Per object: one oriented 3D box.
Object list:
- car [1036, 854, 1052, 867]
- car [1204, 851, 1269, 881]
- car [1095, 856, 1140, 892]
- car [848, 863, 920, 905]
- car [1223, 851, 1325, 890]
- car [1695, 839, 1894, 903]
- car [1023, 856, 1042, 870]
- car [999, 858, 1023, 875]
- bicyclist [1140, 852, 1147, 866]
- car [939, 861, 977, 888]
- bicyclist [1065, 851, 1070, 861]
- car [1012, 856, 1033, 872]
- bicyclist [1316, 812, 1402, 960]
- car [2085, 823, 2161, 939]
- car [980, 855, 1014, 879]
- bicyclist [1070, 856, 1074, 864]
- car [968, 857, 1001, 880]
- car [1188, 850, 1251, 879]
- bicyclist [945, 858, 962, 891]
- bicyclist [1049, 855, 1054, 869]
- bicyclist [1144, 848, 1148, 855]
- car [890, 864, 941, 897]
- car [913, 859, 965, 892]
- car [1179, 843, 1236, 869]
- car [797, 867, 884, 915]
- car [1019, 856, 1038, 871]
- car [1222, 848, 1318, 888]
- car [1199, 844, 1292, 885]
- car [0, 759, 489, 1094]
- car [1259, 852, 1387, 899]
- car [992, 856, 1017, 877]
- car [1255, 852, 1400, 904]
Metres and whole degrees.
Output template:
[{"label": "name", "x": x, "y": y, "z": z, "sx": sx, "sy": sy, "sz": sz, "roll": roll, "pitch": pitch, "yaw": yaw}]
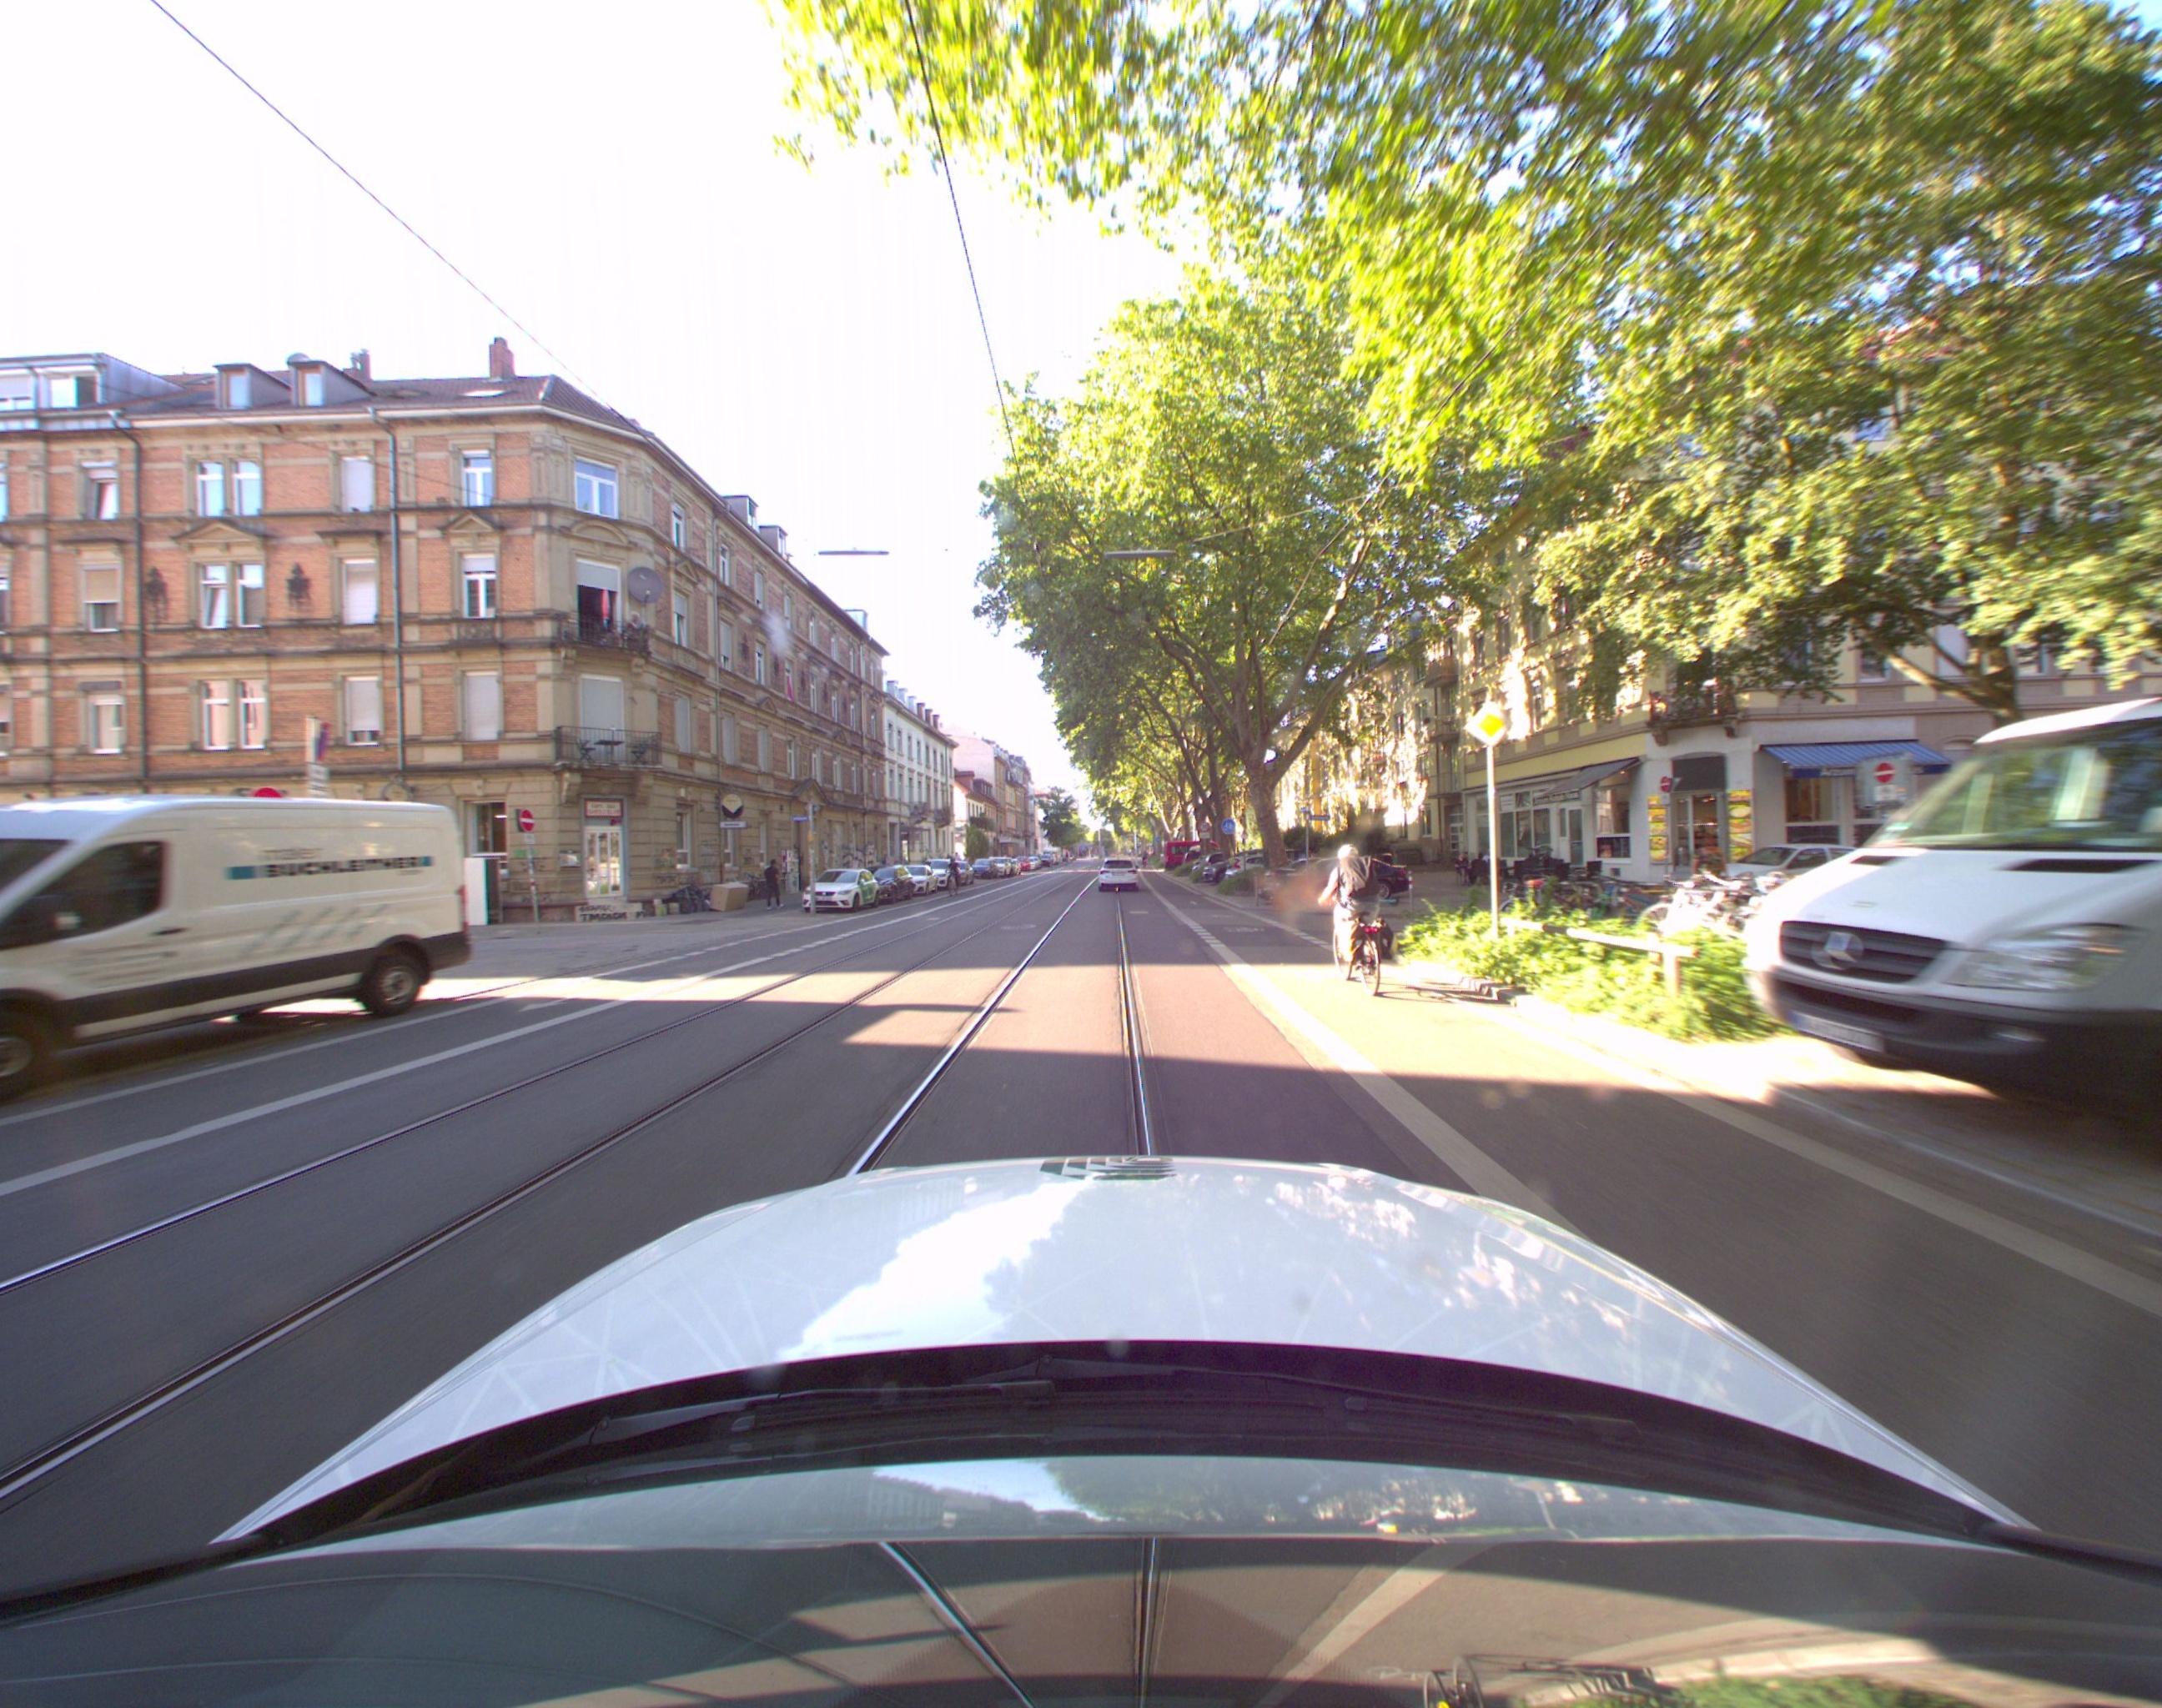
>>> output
[{"label": "car", "x": -5.107, "y": 0.880, "z": 112.430, "sx": 1.957, "sy": 1.781, "sz": 4.938, "roll": 1, "pitch": 0, "yaw": 1}, {"label": "car", "x": 9.101, "y": 0.685, "z": 47.866, "sx": 3.581, "sy": 1.599, "sz": 1.542, "roll": -2, "pitch": -1, "yaw": 2}, {"label": "car", "x": 1.549, "y": 0.831, "z": 35.881, "sx": 1.836, "sy": 1.480, "sz": 3.838, "roll": -1, "pitch": 0, "yaw": 0}, {"label": "car", "x": -8.069, "y": 1.168, "z": 33.804, "sx": 1.734, "sy": 1.562, "sz": 4.787, "roll": 0, "pitch": 0, "yaw": 1}, {"label": "car", "x": 8.339, "y": 0.700, "z": 35.475, "sx": 4.014, "sy": 1.480, "sz": 1.681, "roll": -3, "pitch": 0, "yaw": 0}, {"label": "car", "x": 18.082, "y": 0.398, "z": 20.740, "sx": 3.666, "sy": 1.411, "sz": 1.691, "roll": -2, "pitch": 2, "yaw": -2}, {"label": "car", "x": -5.744, "y": 1.038, "z": 96.365, "sx": 1.820, "sy": 1.502, "sz": 4.451, "roll": -1, "pitch": 0, "yaw": 2}, {"label": "car", "x": -6.462, "y": 1.150, "z": 75.514, "sx": 1.680, "sy": 1.477, "sz": 4.260, "roll": 0, "pitch": 0, "yaw": 2}, {"label": "bicyclist", "x": 6.167, "y": 0.480, "z": 80.008, "sx": 0.676, "sy": 1.339, "sz": 0.525, "roll": 0, "pitch": 0, "yaw": 2}, {"label": "car", "x": -7.478, "y": 1.222, "z": 49.890, "sx": 1.657, "sy": 1.521, "sz": 4.064, "roll": 0, "pitch": 0, "yaw": 0}, {"label": "bicyclist", "x": -2.380, "y": 0.388, "z": 143.792, "sx": 0.533, "sy": 1.634, "sz": 0.897, "roll": -4, "pitch": -1, "yaw": 4}, {"label": "car", "x": -6.150, "y": 1.042, "z": 85.595, "sx": 1.561, "sy": 1.562, "sz": 3.455, "roll": -2, "pitch": 0, "yaw": 6}, {"label": "bicyclist", "x": 3.123, "y": 0.341, "z": 9.220, "sx": 0.612, "sy": 1.552, "sz": 0.936, "roll": 3, "pitch": 0, "yaw": 2}, {"label": "car", "x": 14.387, "y": 0.328, "z": 9.184, "sx": 1.727, "sy": 1.455, "sz": 3.569, "roll": 0, "pitch": 0, "yaw": -1}, {"label": "car", "x": -6.603, "y": 1.011, "z": 64.432, "sx": 1.849, "sy": 1.703, "sz": 4.767, "roll": -2, "pitch": 0, "yaw": 3}, {"label": "bicyclist", "x": -1.662, "y": 1.139, "z": 150.633, "sx": 0.635, "sy": 1.503, "sz": 1.071, "roll": -3, "pitch": -1, "yaw": 4}, {"label": "car", "x": -7.015, "y": 1.055, "z": 59.486, "sx": 1.546, "sy": 1.515, "sz": 3.929, "roll": -2, "pitch": 0, "yaw": 5}, {"label": "car", "x": 8.537, "y": 0.640, "z": 50.338, "sx": 3.581, "sy": 1.517, "sz": 1.695, "roll": -3, "pitch": 0, "yaw": 2}, {"label": "bicyclist", "x": -5.911, "y": 0.925, "z": 37.818, "sx": 0.580, "sy": 1.482, "sz": 0.807, "roll": -3, "pitch": 0, "yaw": 2}, {"label": "bicyclist", "x": -3.373, "y": 0.917, "z": 93.256, "sx": 0.471, "sy": 1.636, "sz": 0.800, "roll": -2, "pitch": 0, "yaw": 3}, {"label": "bicyclist", "x": 14.546, "y": -0.486, "z": 183.316, "sx": 0.731, "sy": 1.589, "sz": 0.589, "roll": -2, "pitch": 0, "yaw": 15}, {"label": "car", "x": -7.875, "y": 1.234, "z": 38.986, "sx": 1.694, "sy": 1.420, "sz": 3.997, "roll": 0, "pitch": 0, "yaw": -2}, {"label": "car", "x": -7.654, "y": 1.123, "z": 44.364, "sx": 1.779, "sy": 1.723, "sz": 4.721, "roll": 0, "pitch": 0, "yaw": 2}, {"label": "car", "x": 9.315, "y": 0.177, "z": 60.068, "sx": 3.807, "sy": 1.649, "sz": 1.767, "roll": -3, "pitch": -1, "yaw": -1}, {"label": "car", "x": -8.295, "y": 1.236, "z": 28.466, "sx": 1.734, "sy": 1.492, "sz": 4.046, "roll": 0, "pitch": 0, "yaw": 1}, {"label": "car", "x": -5.843, "y": 1.035, "z": 91.127, "sx": 1.821, "sy": 1.502, "sz": 4.688, "roll": -1, "pitch": 0, "yaw": 0}, {"label": "car", "x": 8.770, "y": 0.617, "z": 37.982, "sx": 4.014, "sy": 1.643, "sz": 1.681, "roll": -3, "pitch": 0, "yaw": 0}, {"label": "car", "x": 8.249, "y": 0.502, "z": 41.035, "sx": 4.249, "sy": 1.719, "sz": 1.849, "roll": -4, "pitch": 0, "yaw": 0}, {"label": "car", "x": -9.098, "y": 0.576, "z": 8.020, "sx": 2.055, "sy": 2.535, "sz": 5.673, "roll": -2, "pitch": 0, "yaw": 4}, {"label": "car", "x": 8.420, "y": 0.734, "z": 28.645, "sx": 4.074, "sy": 1.491, "sz": 1.684, "roll": -2, "pitch": 0, "yaw": 6}, {"label": "car", "x": -6.573, "y": 1.026, "z": 70.003, "sx": 1.852, "sy": 1.703, "sz": 4.655, "roll": -2, "pitch": 0, "yaw": -3}, {"label": "car", "x": 7.828, "y": 0.747, "z": 26.127, "sx": 4.083, "sy": 1.491, "sz": 1.830, "roll": -2, "pitch": 0, "yaw": 0}]
